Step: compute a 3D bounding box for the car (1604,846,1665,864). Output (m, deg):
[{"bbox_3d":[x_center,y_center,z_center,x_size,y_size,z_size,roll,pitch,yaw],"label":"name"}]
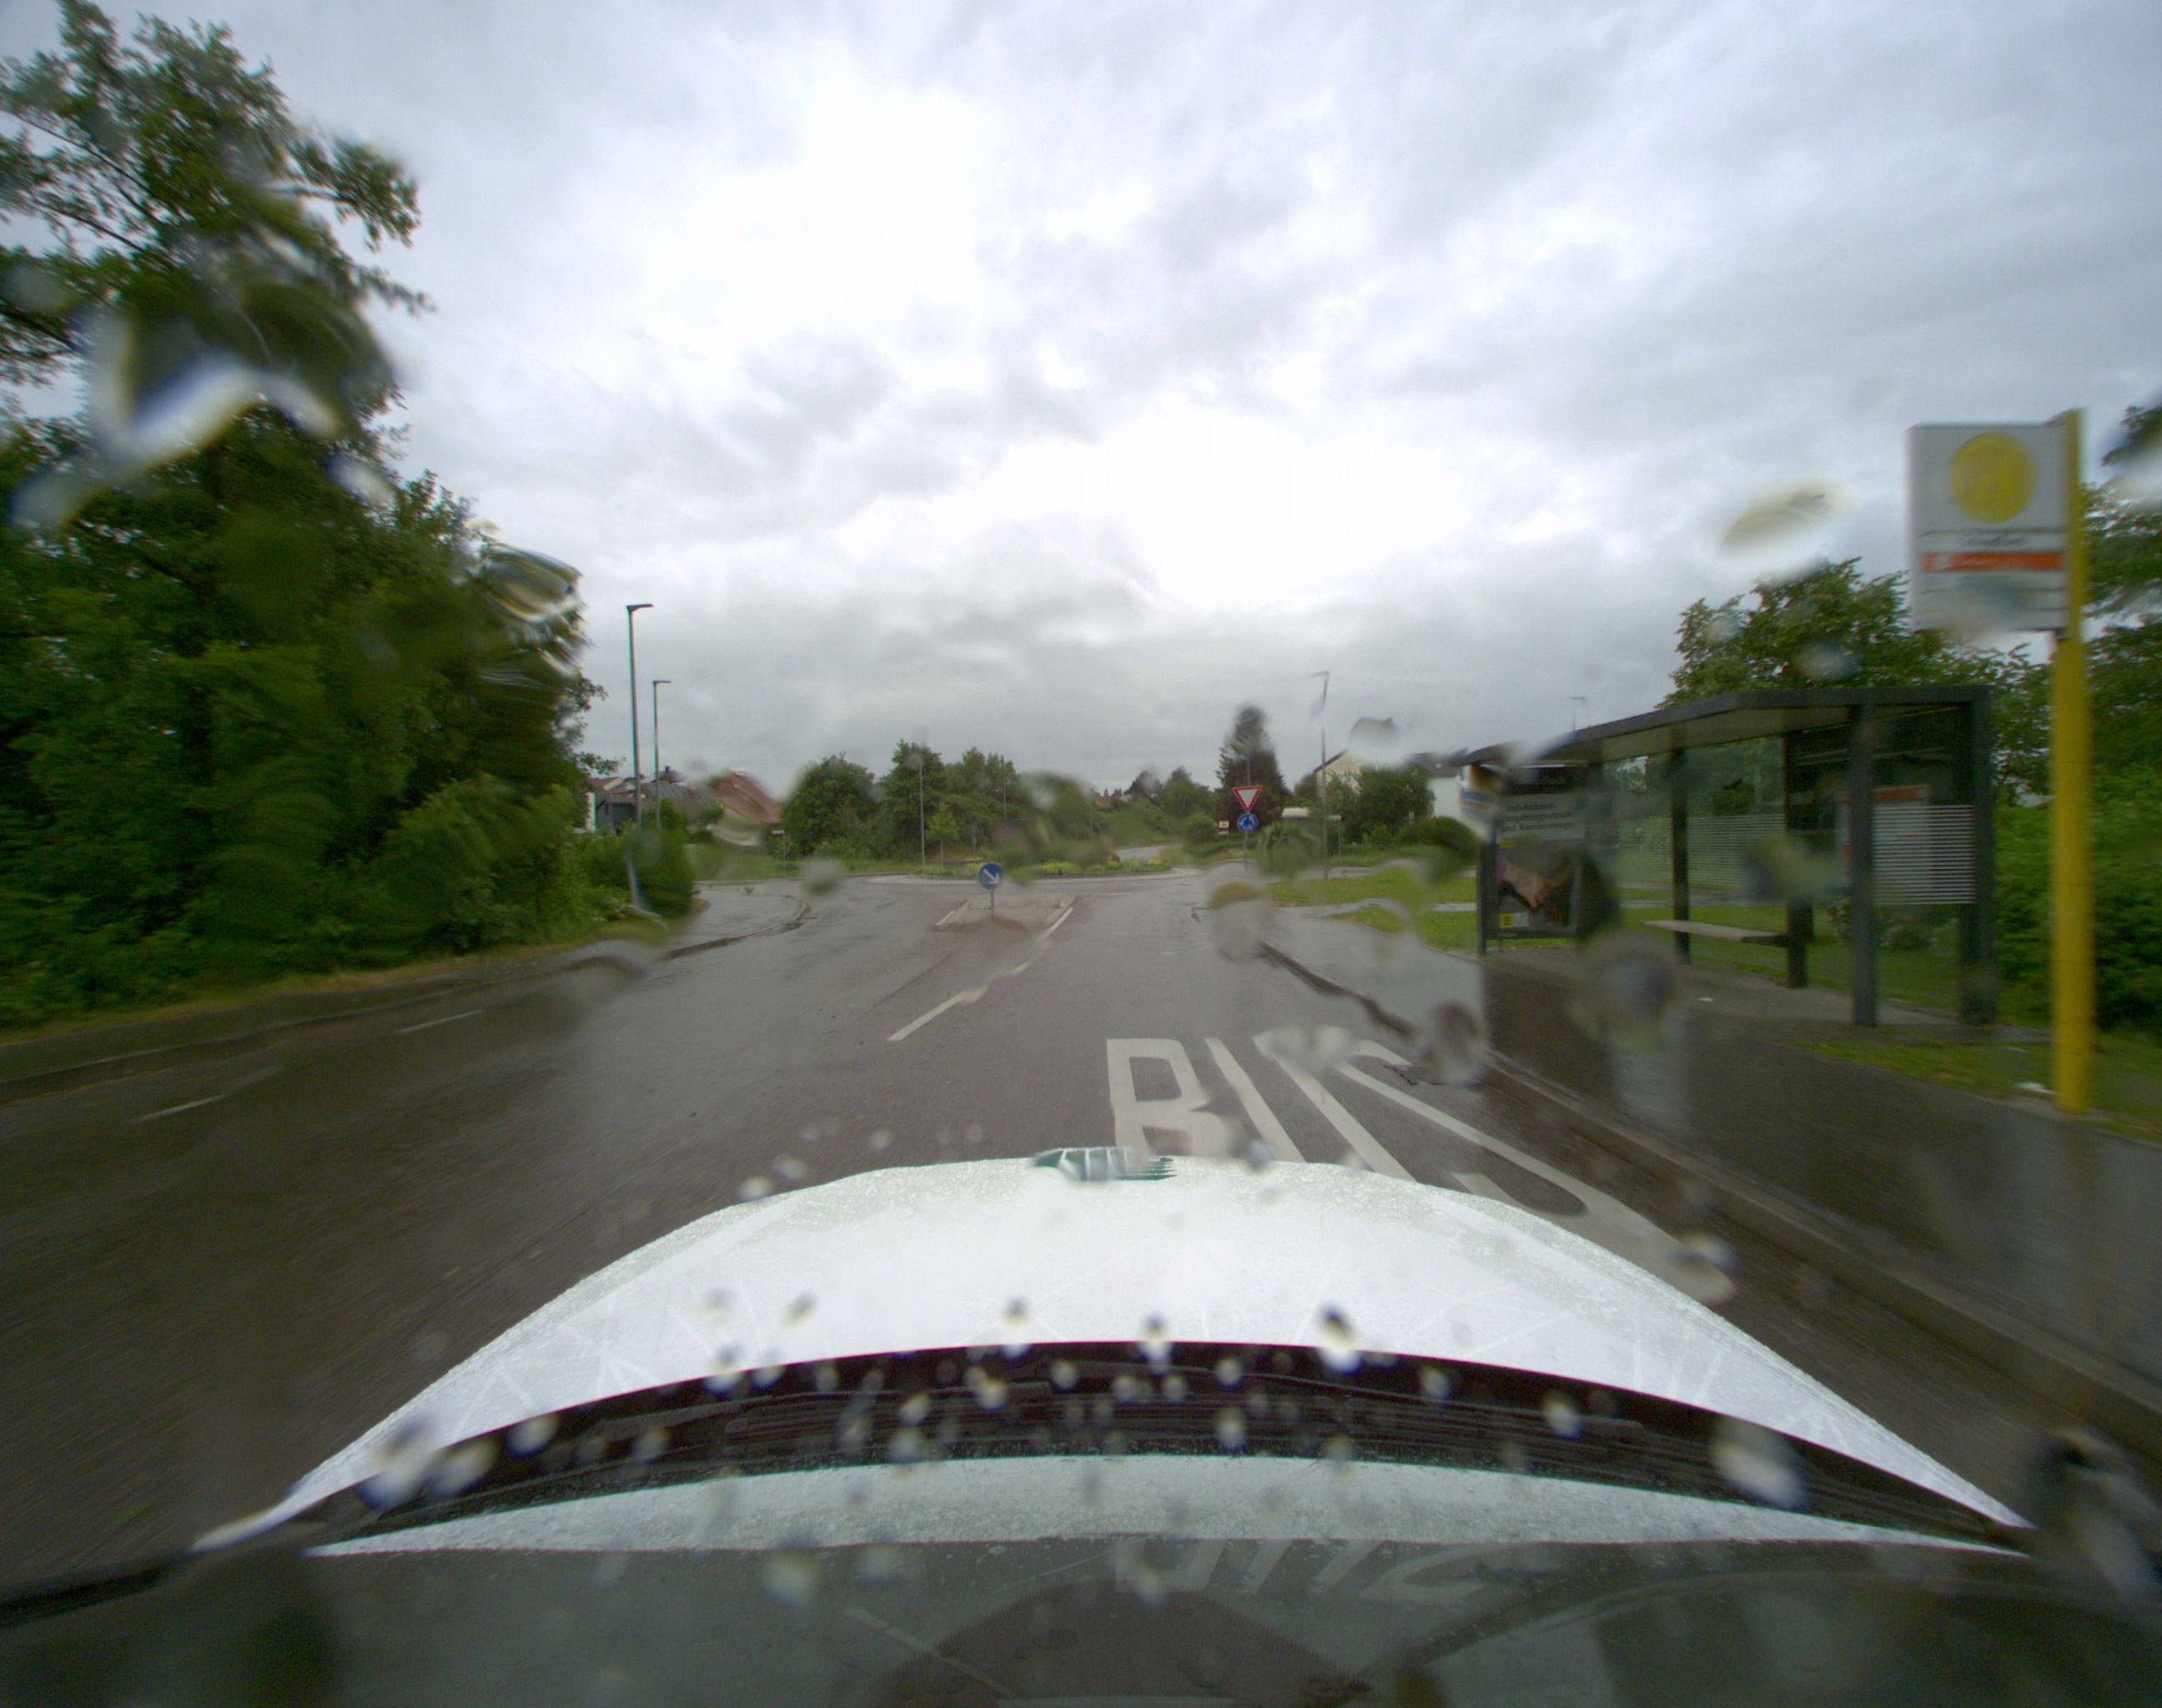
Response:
[{"bbox_3d":[44.546,0.052,65.607,3.949,1.374,1.795,-1,1,30],"label":"car"}]
